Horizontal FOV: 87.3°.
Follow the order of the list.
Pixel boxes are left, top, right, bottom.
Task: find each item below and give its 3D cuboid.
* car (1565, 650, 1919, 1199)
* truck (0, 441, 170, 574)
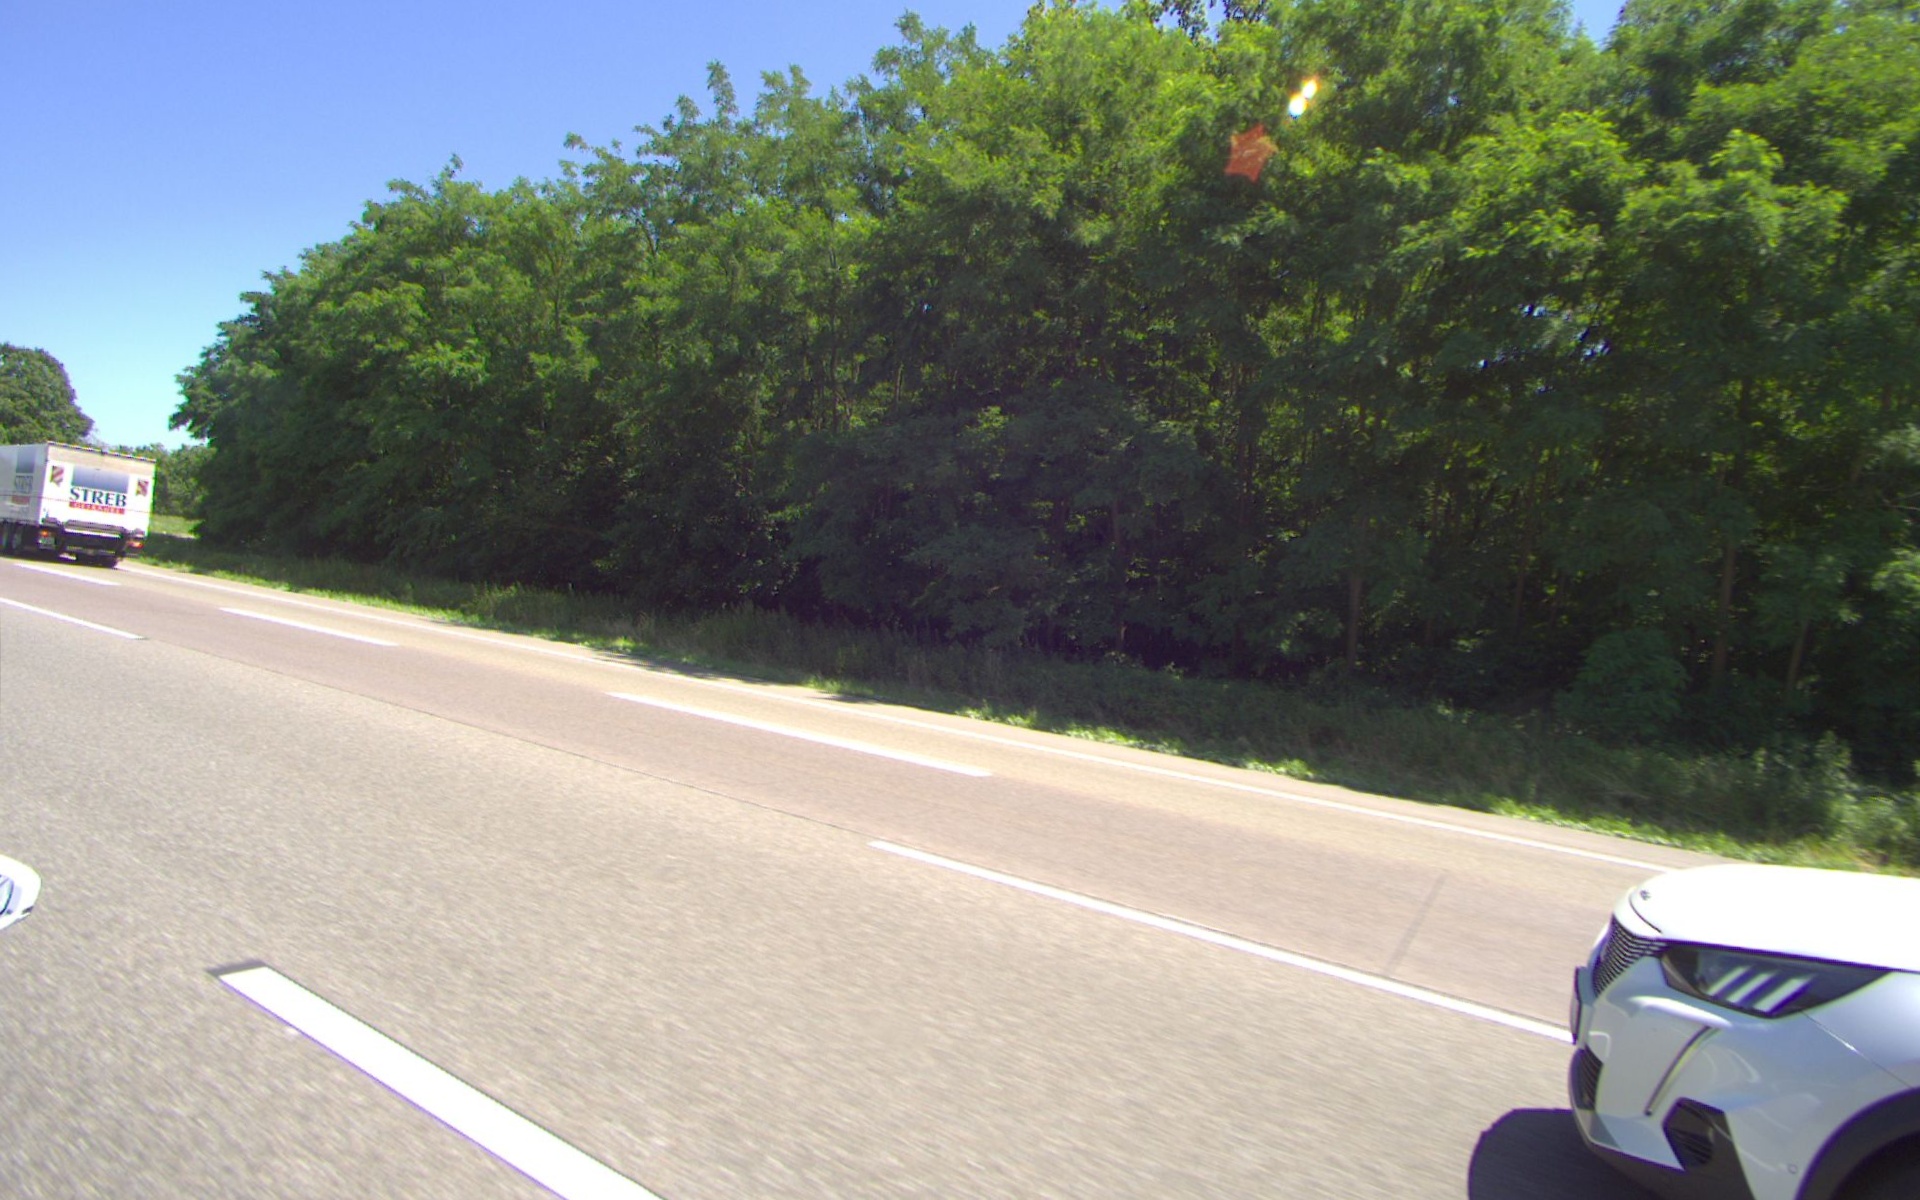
[{"bbox_3d":[4.068,1.231,2.022,4.729,1.627,1.830,6,-1,31],"label":"car"},{"bbox_3d":[-29.309,-3.050,32.434,10.604,3.358,3.030,6,-2,36],"label":"truck"}]
